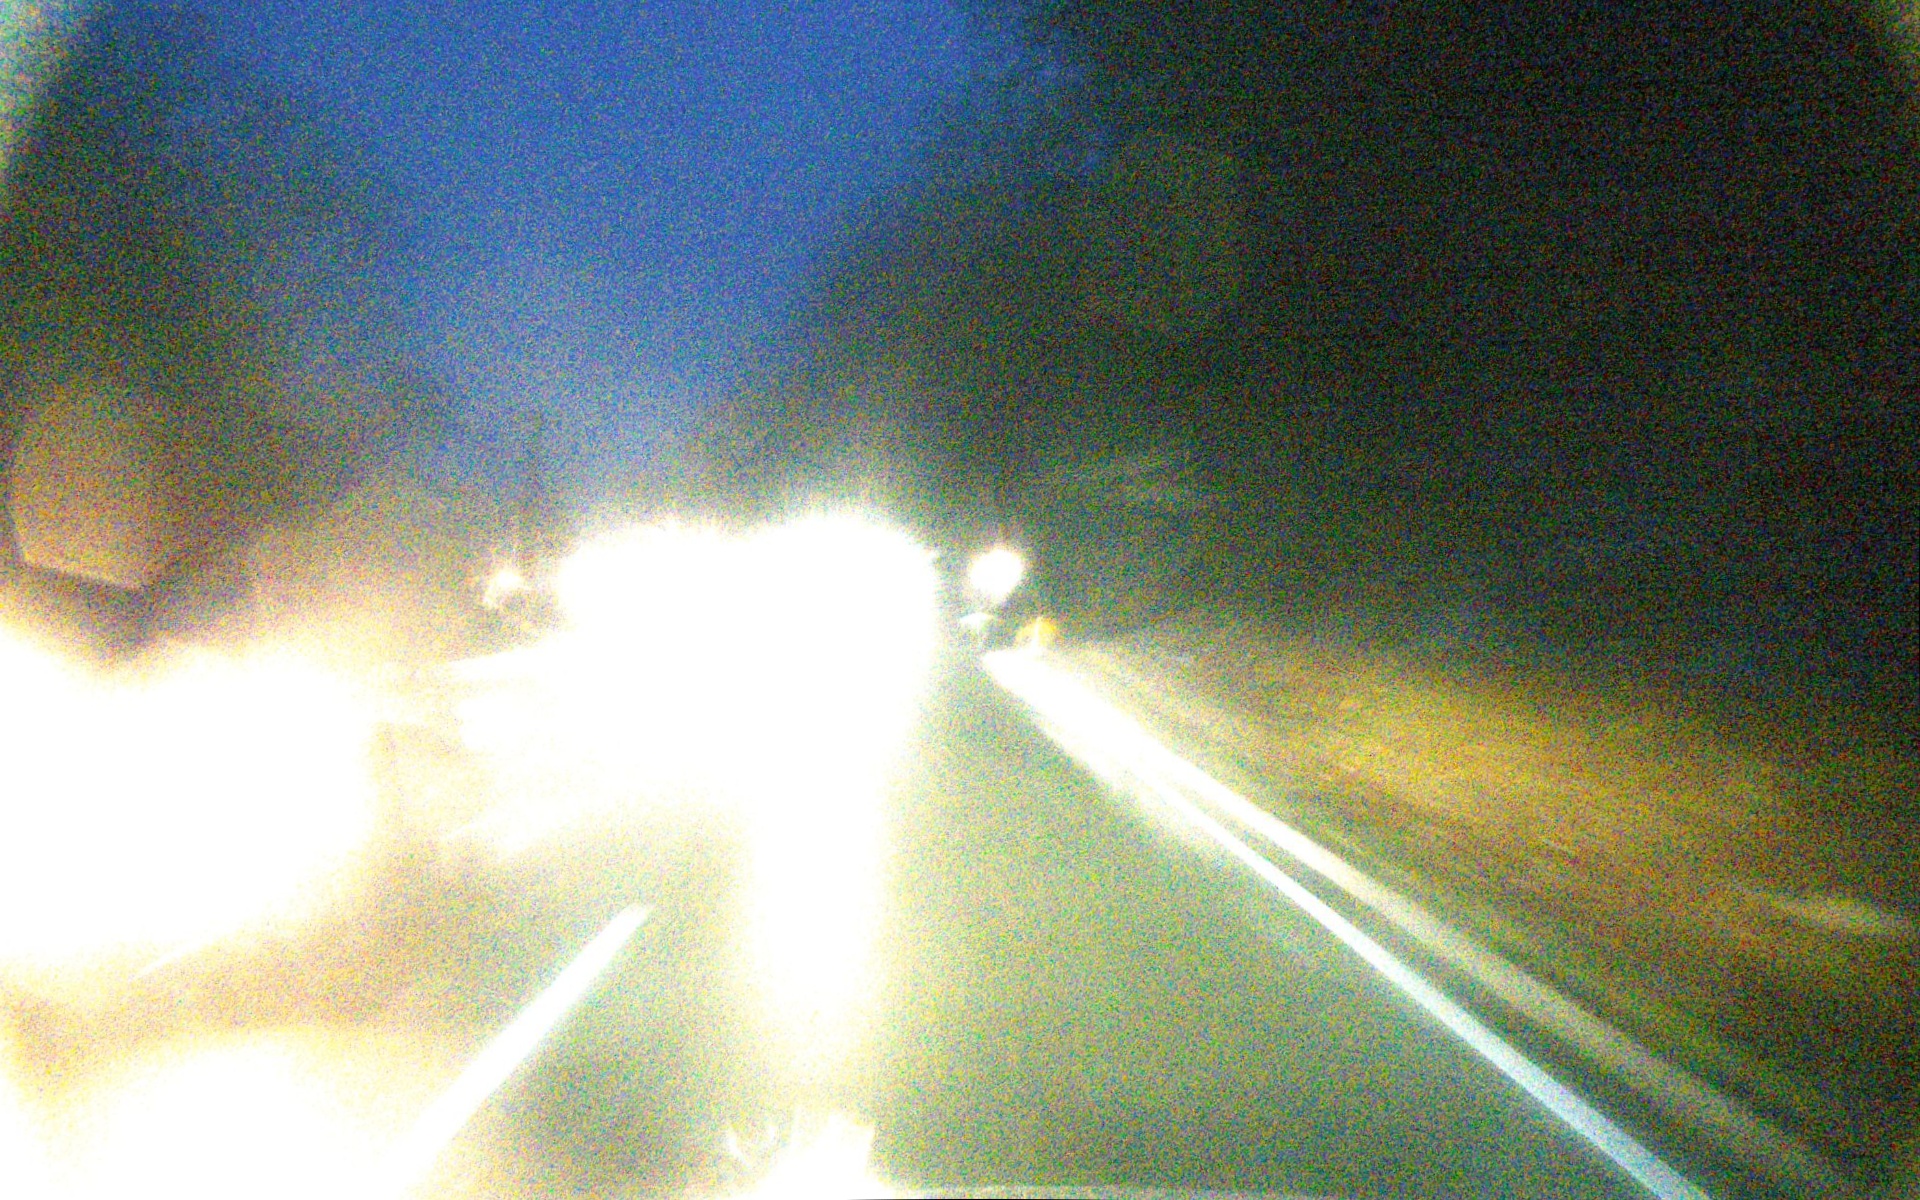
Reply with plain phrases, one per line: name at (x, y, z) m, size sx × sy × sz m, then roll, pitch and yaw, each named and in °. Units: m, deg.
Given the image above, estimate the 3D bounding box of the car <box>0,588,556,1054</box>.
car at (-3.206, 0.734, 7.393) m, size 1.954 × 1.482 × 4.096 m, roll -1°, pitch 0°, yaw -3°

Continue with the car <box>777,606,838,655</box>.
car at (-5.351, 1.064, 58.601) m, size 1.954 × 1.640 × 4.096 m, roll -1°, pitch 0°, yaw -3°
